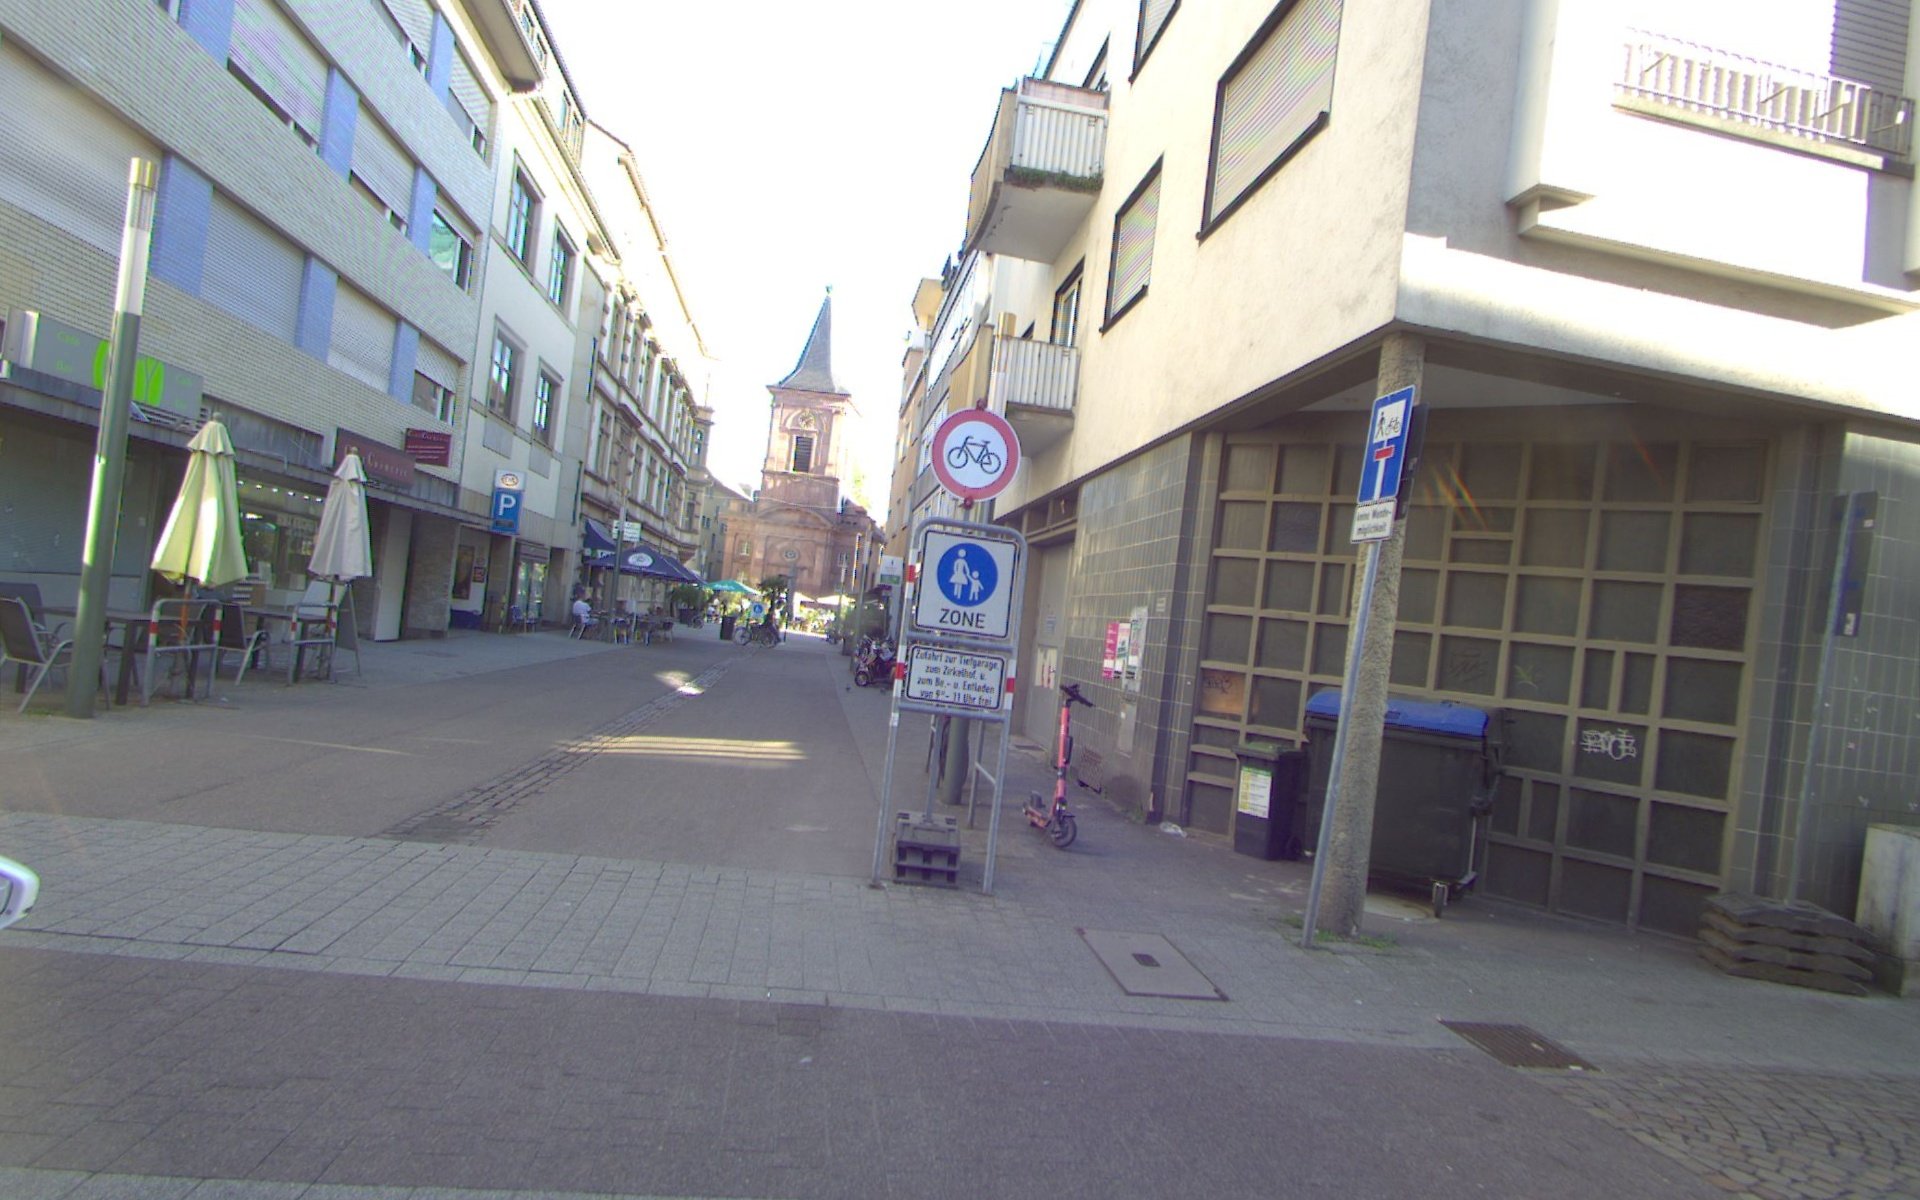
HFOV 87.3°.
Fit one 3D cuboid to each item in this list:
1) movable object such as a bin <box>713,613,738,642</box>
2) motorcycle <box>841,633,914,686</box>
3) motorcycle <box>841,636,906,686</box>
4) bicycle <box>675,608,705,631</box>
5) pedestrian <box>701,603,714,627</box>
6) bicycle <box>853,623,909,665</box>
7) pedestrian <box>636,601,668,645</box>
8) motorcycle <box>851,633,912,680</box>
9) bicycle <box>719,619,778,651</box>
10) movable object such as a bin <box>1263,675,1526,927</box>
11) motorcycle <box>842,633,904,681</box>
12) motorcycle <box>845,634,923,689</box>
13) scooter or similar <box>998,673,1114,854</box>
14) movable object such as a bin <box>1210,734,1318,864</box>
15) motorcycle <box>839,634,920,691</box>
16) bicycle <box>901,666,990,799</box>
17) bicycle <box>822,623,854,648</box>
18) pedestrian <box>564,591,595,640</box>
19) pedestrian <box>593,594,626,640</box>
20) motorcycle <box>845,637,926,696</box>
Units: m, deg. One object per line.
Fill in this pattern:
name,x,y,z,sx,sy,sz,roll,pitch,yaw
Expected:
movable object such as a bin,-10.182,1.174,43.728,0.890,1.137,0.779,7,-1,-12
motorcycle,-2.239,1.607,27.301,1.750,1.187,0.555,7,-1,10
motorcycle,-2.411,1.700,28.159,1.662,1.187,0.596,7,-1,-5
bicycle,-13.876,0.997,51.697,1.372,1.015,0.507,6,-1,20
pedestrian,-16.533,0.984,65.952,0.619,1.467,0.795,7,-1,-17
bicycle,-3.205,1.797,40.696,2.102,1.360,0.591,7,-9,-5
pedestrian,-10.221,0.769,33.403,0.751,1.371,0.550,7,-1,-6
motorcycle,-2.337,1.696,30.076,1.660,1.187,0.513,7,-1,3
bicycle,-8.477,1.399,40.421,2.131,0.995,0.816,8,-1,-6
movable object such as a bin,3.217,1.400,7.452,1.414,1.480,1.125,6,-1,39
motorcycle,-2.507,1.639,29.065,1.661,1.187,0.513,7,-1,-4
motorcycle,-1.996,1.593,26.300,1.876,1.187,0.543,7,-1,23
scooter or similar,0.743,1.269,8.089,0.490,1.238,1.161,7,-1,-11
movable object such as a bin,2.530,1.625,8.370,0.588,0.937,0.605,6,-1,39
motorcycle,-2.044,1.584,25.431,1.868,1.187,0.628,6,-1,30
bicycle,-0.195,1.324,10.526,0.670,1.139,1.893,7,-2,-5
bicycle,-6.434,1.883,53.197,0.403,1.167,1.816,6,-2,38
pedestrian,-11.123,0.455,29.438,0.656,1.371,0.549,7,-1,-15
pedestrian,-11.220,0.558,32.206,0.751,1.371,0.550,7,-1,-6
motorcycle,-1.788,1.603,24.336,1.668,1.168,0.794,7,-1,13
